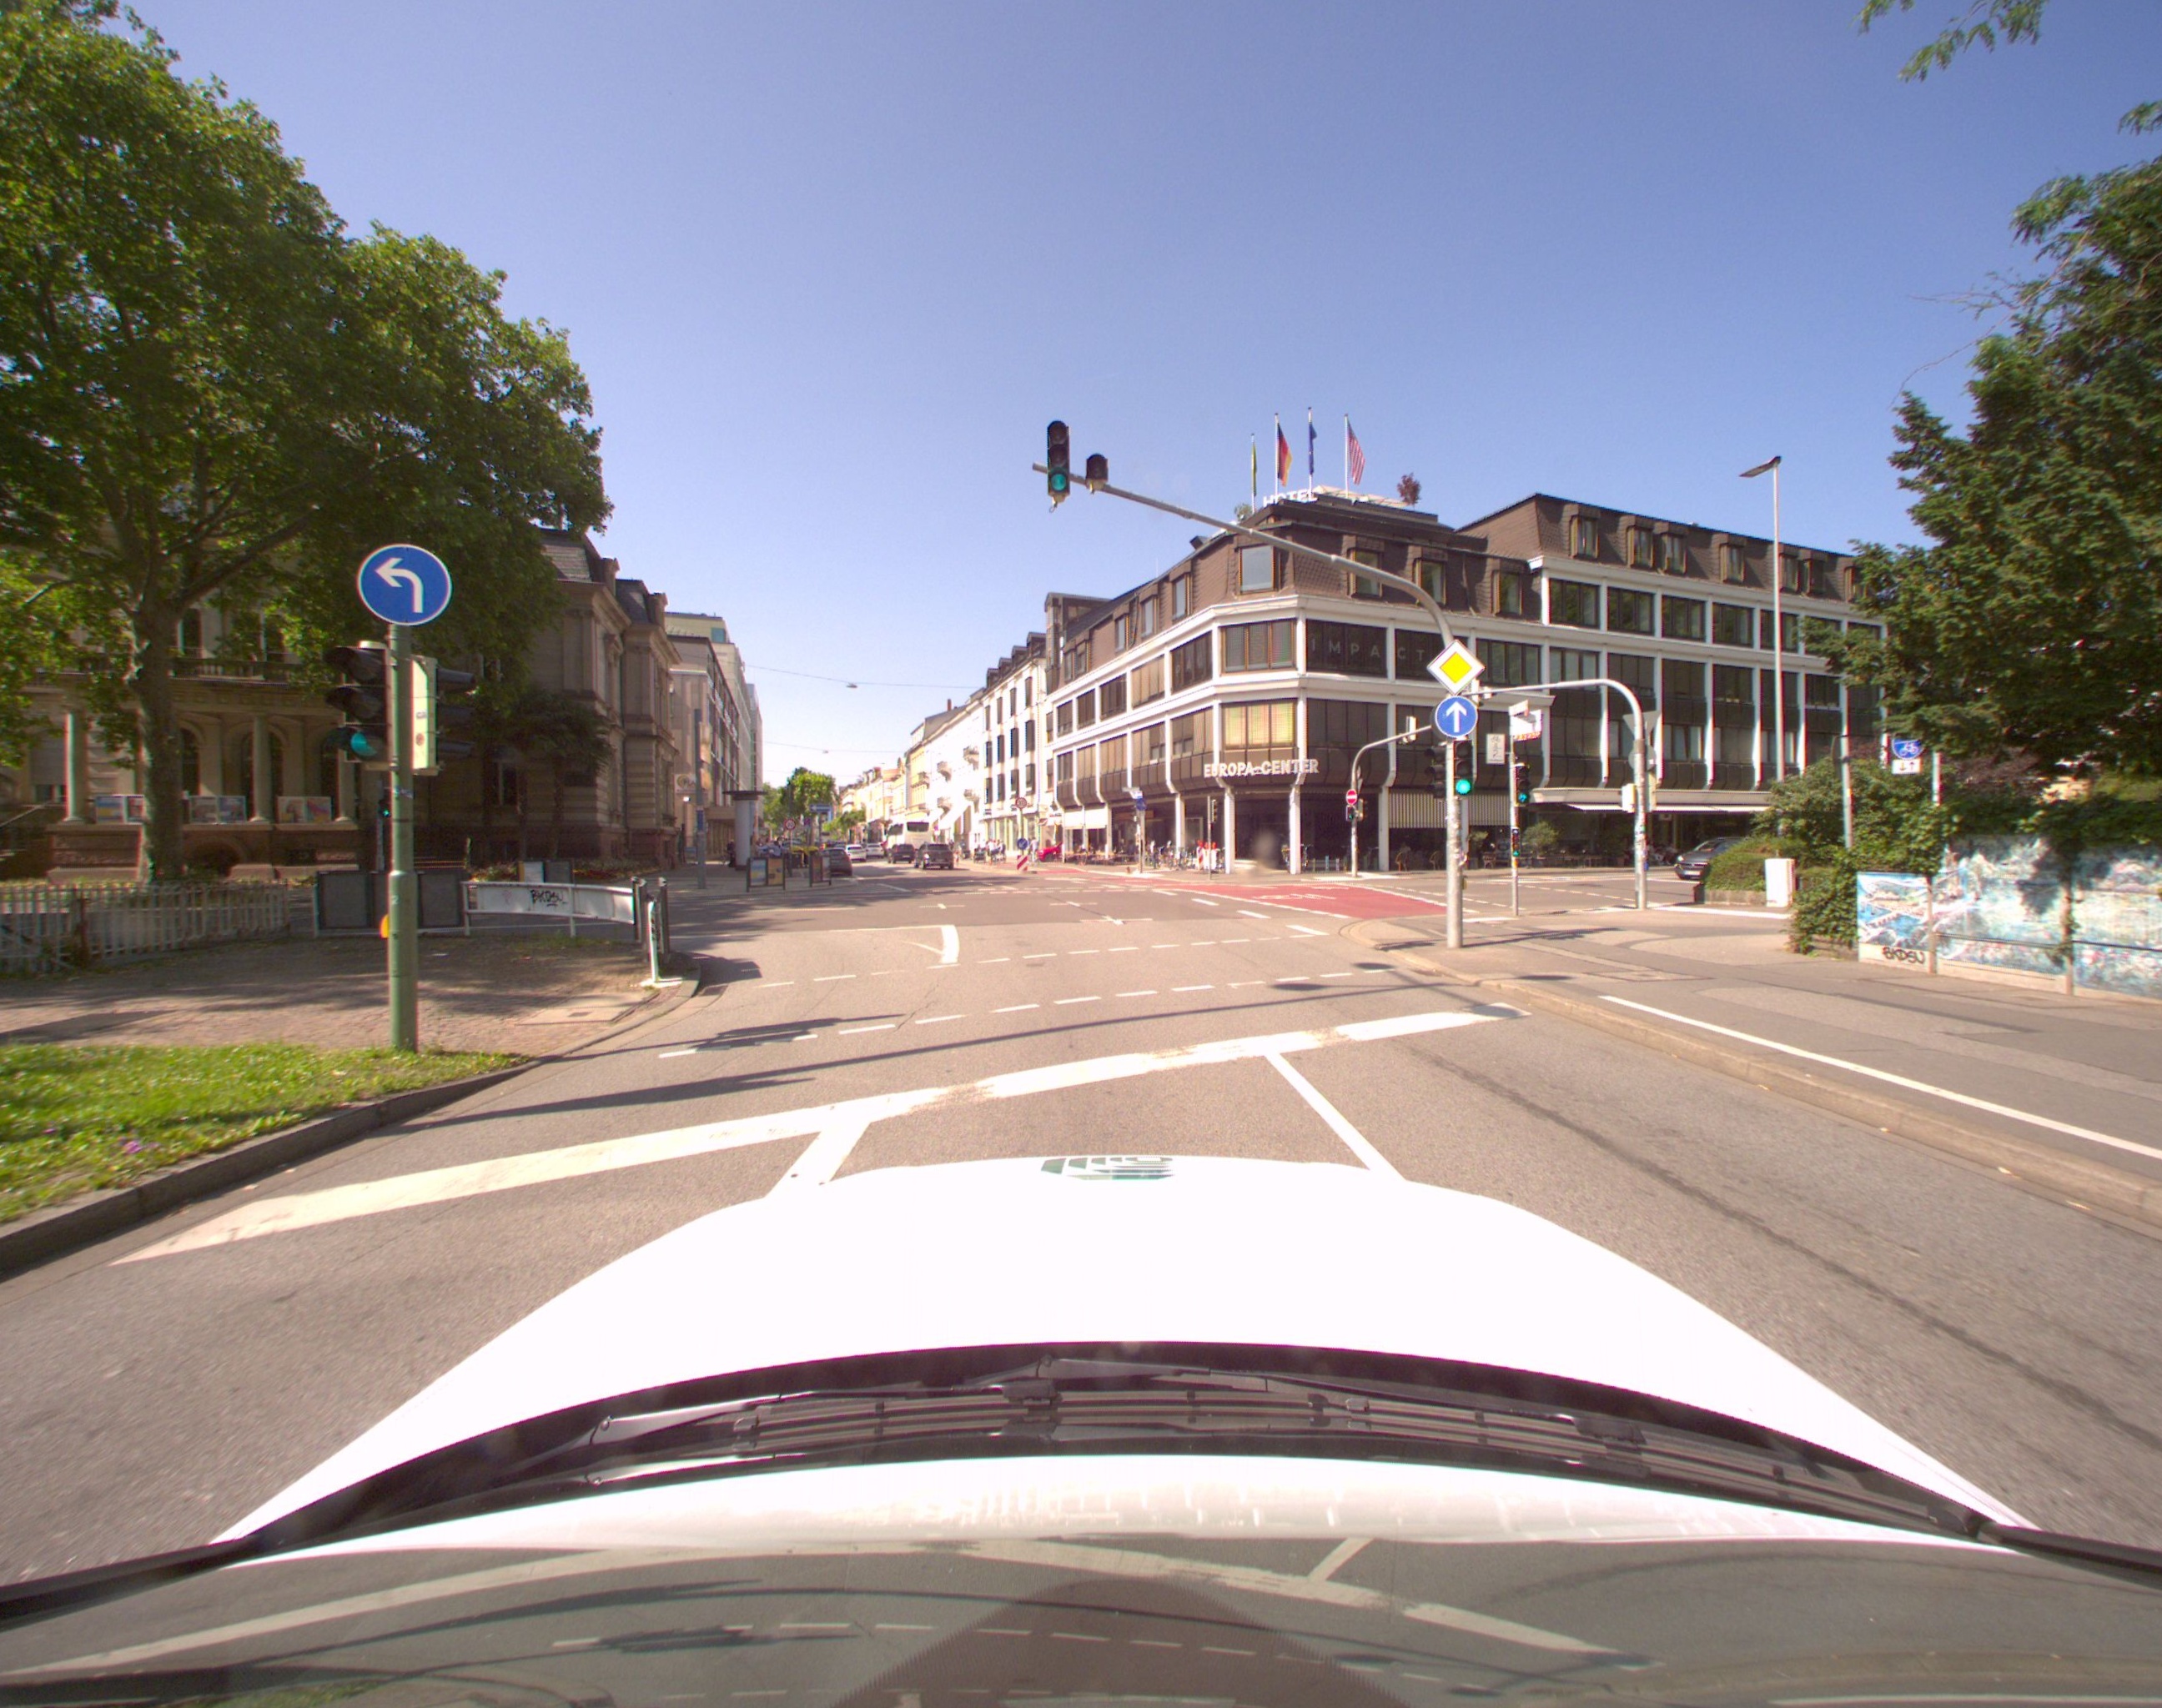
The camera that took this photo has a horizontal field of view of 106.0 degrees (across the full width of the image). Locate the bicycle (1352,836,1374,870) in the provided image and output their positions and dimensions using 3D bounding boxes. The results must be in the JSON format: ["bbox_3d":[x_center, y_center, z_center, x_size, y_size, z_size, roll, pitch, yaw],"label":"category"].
[{"bbox_3d":[12.363,-0.061,35.671,0.524,1.422,1.980,0,2,31],"label":"bicycle"}]

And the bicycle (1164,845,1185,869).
[{"bbox_3d":[4.506,0.114,39.356,0.277,1.120,2.234,-1,1,-12],"label":"bicycle"}]

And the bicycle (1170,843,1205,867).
[{"bbox_3d":[5.304,0.065,40.474,1.719,1.120,0.276,-2,1,-14],"label":"bicycle"}]

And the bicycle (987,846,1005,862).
[{"bbox_3d":[-5.905,-0.007,56.667,0.622,1.099,2.336,-1,1,-21],"label":"bicycle"}]

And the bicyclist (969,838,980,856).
[{"bbox_3d":[-8.046,-0.544,61.519,0.623,1.370,0.775,-1,0,-22],"label":"bicyclist"}]

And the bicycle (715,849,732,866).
[{"bbox_3d":[-22.925,0.191,52.193,0.493,1.062,2.003,-1,1,-40],"label":"bicycle"}]

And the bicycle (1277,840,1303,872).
[{"bbox_3d":[9.023,0.073,35.162,0.524,1.316,1.980,0,2,31],"label":"bicycle"}]

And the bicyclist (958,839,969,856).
[{"bbox_3d":[-9.969,-0.568,68.969,0.790,1.378,0.717,-1,0,-22],"label":"bicyclist"}]

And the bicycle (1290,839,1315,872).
[{"bbox_3d":[9.498,0.058,34.944,0.524,1.316,1.871,0,2,31],"label":"bicycle"}]

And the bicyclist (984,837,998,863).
[{"bbox_3d":[-6.013,-0.252,54.188,0.696,1.673,0.910,1,1,-19],"label":"bicyclist"}]

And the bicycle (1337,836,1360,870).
[{"bbox_3d":[11.814,-0.054,35.898,0.524,1.422,1.980,0,2,31],"label":"bicycle"}]

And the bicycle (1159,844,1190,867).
[{"bbox_3d":[4.741,0.063,41.242,1.572,1.120,0.276,-2,1,-14],"label":"bicycle"}]

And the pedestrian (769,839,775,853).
[{"bbox_3d":[-36.831,-0.974,97.013,0.568,1.657,0.631,-2,1,-26],"label":"pedestrian"}]

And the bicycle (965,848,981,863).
[{"bbox_3d":[-8.225,0.080,62.041,0.622,1.099,2.336,-1,1,-21],"label":"bicycle"}]

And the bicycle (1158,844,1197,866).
[{"bbox_3d":[5.061,0.028,42.458,2.248,1.120,0.275,-1,1,-28],"label":"bicycle"}]

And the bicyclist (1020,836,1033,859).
[{"bbox_3d":[-3.544,-0.438,53.334,0.622,1.529,0.863,0,0,-21],"label":"bicyclist"}]

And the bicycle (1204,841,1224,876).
[{"bbox_3d":[6.072,0.190,37.129,0.372,1.063,1.483,-1,26,26],"label":"bicycle"}]

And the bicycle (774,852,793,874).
[{"bbox_3d":[-15.207,0.464,41.665,0.429,1.120,2.236,1,-1,-9],"label":"bicycle"}]

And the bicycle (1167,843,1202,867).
[{"bbox_3d":[5.211,0.047,40.857,1.719,1.120,0.276,-2,1,-14],"label":"bicycle"}]

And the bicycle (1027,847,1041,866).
[{"bbox_3d":[-2.884,0.158,50.226,0.595,1.120,1.794,-1,1,-12],"label":"bicycle"}]

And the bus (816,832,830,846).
[{"bbox_3d":[-68.362,-3.925,215.516,2.782,3.604,8.906,-1,2,-23],"label":"bus"}]

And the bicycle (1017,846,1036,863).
[{"bbox_3d":[-3.577,0.017,53.445,0.622,1.099,2.337,-1,1,-19],"label":"bicycle"}]

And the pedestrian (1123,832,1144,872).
[{"bbox_3d":[2.489,-0.090,38.621,0.833,1.835,0.694,-1,0,-12],"label":"pedestrian"}]

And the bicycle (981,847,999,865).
[{"bbox_3d":[-6.080,0.148,54.232,0.666,1.120,2.229,1,1,-19],"label":"bicycle"}]

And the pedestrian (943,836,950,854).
[{"bbox_3d":[-13.939,-0.946,84.592,0.575,1.778,1.014,-1,0,-17],"label":"pedestrian"}]

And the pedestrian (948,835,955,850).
[{"bbox_3d":[-13.635,-1.196,85.681,0.647,1.617,0.817,-1,0,-17],"label":"pedestrian"}]

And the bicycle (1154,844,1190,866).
[{"bbox_3d":[4.821,0.044,43.025,2.252,1.097,0.275,-1,1,-34],"label":"bicycle"}]

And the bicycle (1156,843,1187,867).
[{"bbox_3d":[4.623,0.062,41.589,1.547,1.206,0.276,-1,1,-14],"label":"bicycle"}]

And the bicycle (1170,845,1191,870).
[{"bbox_3d":[4.824,0.147,39.489,0.277,1.120,2.234,-1,1,-12],"label":"bicycle"}]

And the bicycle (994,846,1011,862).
[{"bbox_3d":[-5.704,-0.025,58.824,0.622,1.099,2.336,-1,1,-21],"label":"bicycle"}]

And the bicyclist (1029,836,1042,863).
[{"bbox_3d":[-2.806,-0.268,49.977,0.694,1.625,0.833,-1,1,-8],"label":"bicyclist"}]

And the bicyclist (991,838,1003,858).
[{"bbox_3d":[-5.872,-0.433,56.579,0.623,1.355,0.840,-1,0,-22],"label":"bicyclist"}]

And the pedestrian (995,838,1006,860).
[{"bbox_3d":[-6.188,-0.383,62.830,0.622,1.719,0.830,-1,0,-20],"label":"pedestrian"}]

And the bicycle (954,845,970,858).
[{"bbox_3d":[-10.163,-0.207,69.366,0.841,1.099,2.336,-1,1,-21],"label":"bicycle"}]

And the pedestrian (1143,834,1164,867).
[{"bbox_3d":[3.714,-0.155,41.803,0.833,1.663,0.694,-1,0,-12],"label":"pedestrian"}]

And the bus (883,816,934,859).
[{"bbox_3d":[-16.631,-1.530,77.903,2.892,3.742,12.340,1,0,-21],"label":"bus"}]

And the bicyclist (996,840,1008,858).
[{"bbox_3d":[-5.728,-0.374,58.865,0.623,1.296,0.861,-1,0,-22],"label":"bicyclist"}]
